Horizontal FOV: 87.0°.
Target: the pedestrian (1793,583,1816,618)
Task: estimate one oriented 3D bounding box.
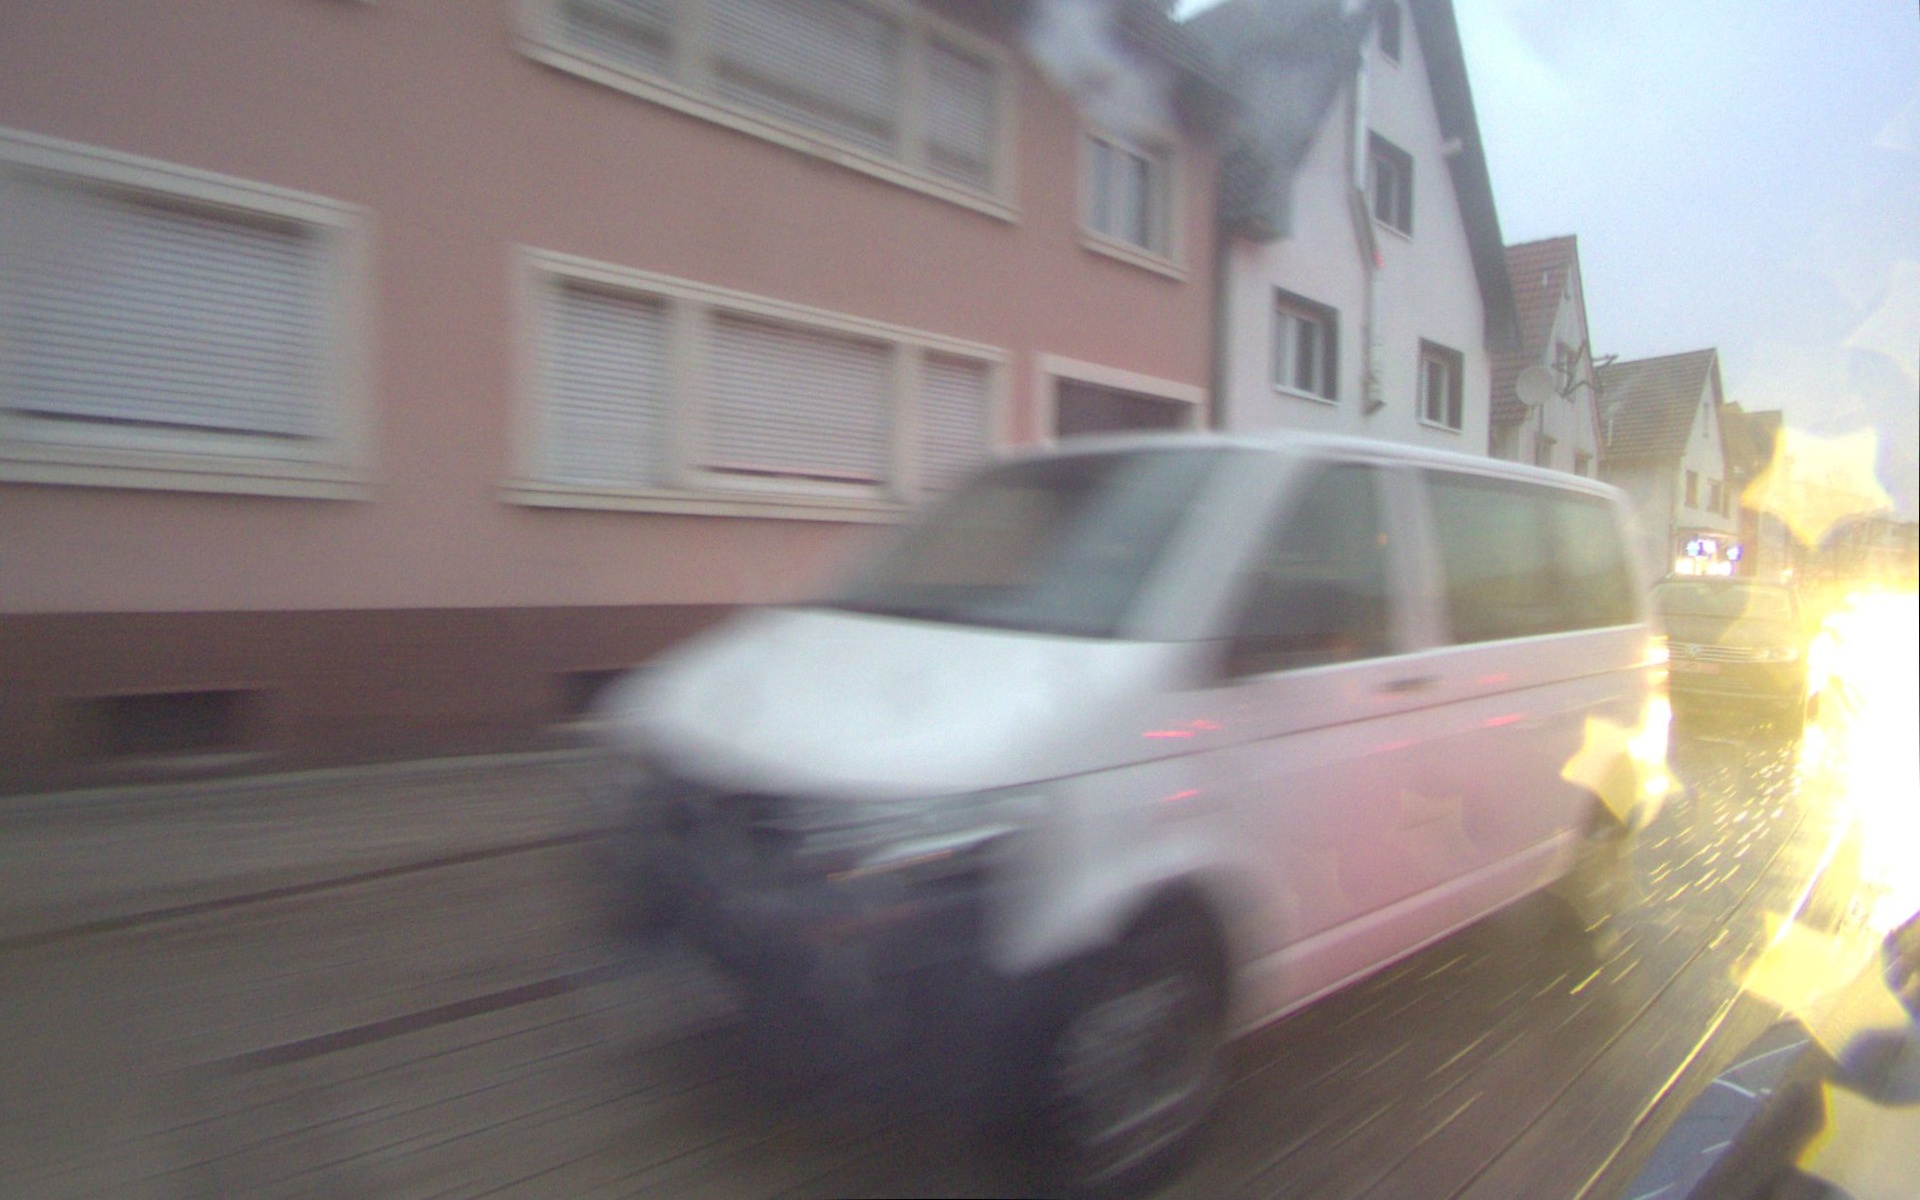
[{"bbox_3d":[44.677,0.008,53.522,0.817,1.786,1.043,3,2,43],"label":"pedestrian"}]

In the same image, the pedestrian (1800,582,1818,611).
[{"bbox_3d":[49.217,-0.194,58.655,0.711,1.625,0.655,1,2,-45],"label":"pedestrian"}]

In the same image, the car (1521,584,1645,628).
[{"bbox_3d":[23.156,0.202,37.713,1.629,1.403,3.563,1,3,-35],"label":"car"}]

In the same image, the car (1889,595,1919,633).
[{"bbox_3d":[34.207,0.499,35.982,1.660,1.227,3.720,3,3,42],"label":"car"}]

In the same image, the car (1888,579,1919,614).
[{"bbox_3d":[57.218,-0.204,60.766,1.858,2.038,3.789,3,2,39],"label":"car"}]

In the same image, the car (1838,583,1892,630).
[{"bbox_3d":[43.097,0.288,48.222,1.744,2.038,3.749,5,3,42],"label":"car"}]

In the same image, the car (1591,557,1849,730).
[{"bbox_3d":[9.344,0.406,12.293,1.975,1.681,4.390,3,2,43],"label":"car"}]

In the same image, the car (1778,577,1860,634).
[{"bbox_3d":[30.433,0.163,35.820,1.993,1.806,4.450,3,2,42],"label":"car"}]

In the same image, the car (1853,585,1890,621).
[{"bbox_3d":[54.333,0.177,60.301,1.528,2.038,3.937,3,2,43],"label":"car"}]

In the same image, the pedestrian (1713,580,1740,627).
[{"bbox_3d":[28.846,0.129,38.087,0.639,1.742,0.609,2,2,-41],"label":"pedestrian"}]

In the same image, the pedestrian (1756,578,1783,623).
[{"bbox_3d":[33.277,0.024,41.587,0.498,1.819,0.651,2,2,-35],"label":"pedestrian"}]

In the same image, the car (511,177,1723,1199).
[{"bbox_3d":[1.054,0.277,3.952,4.765,1.984,1.978,1,2,-40],"label":"car"}]
